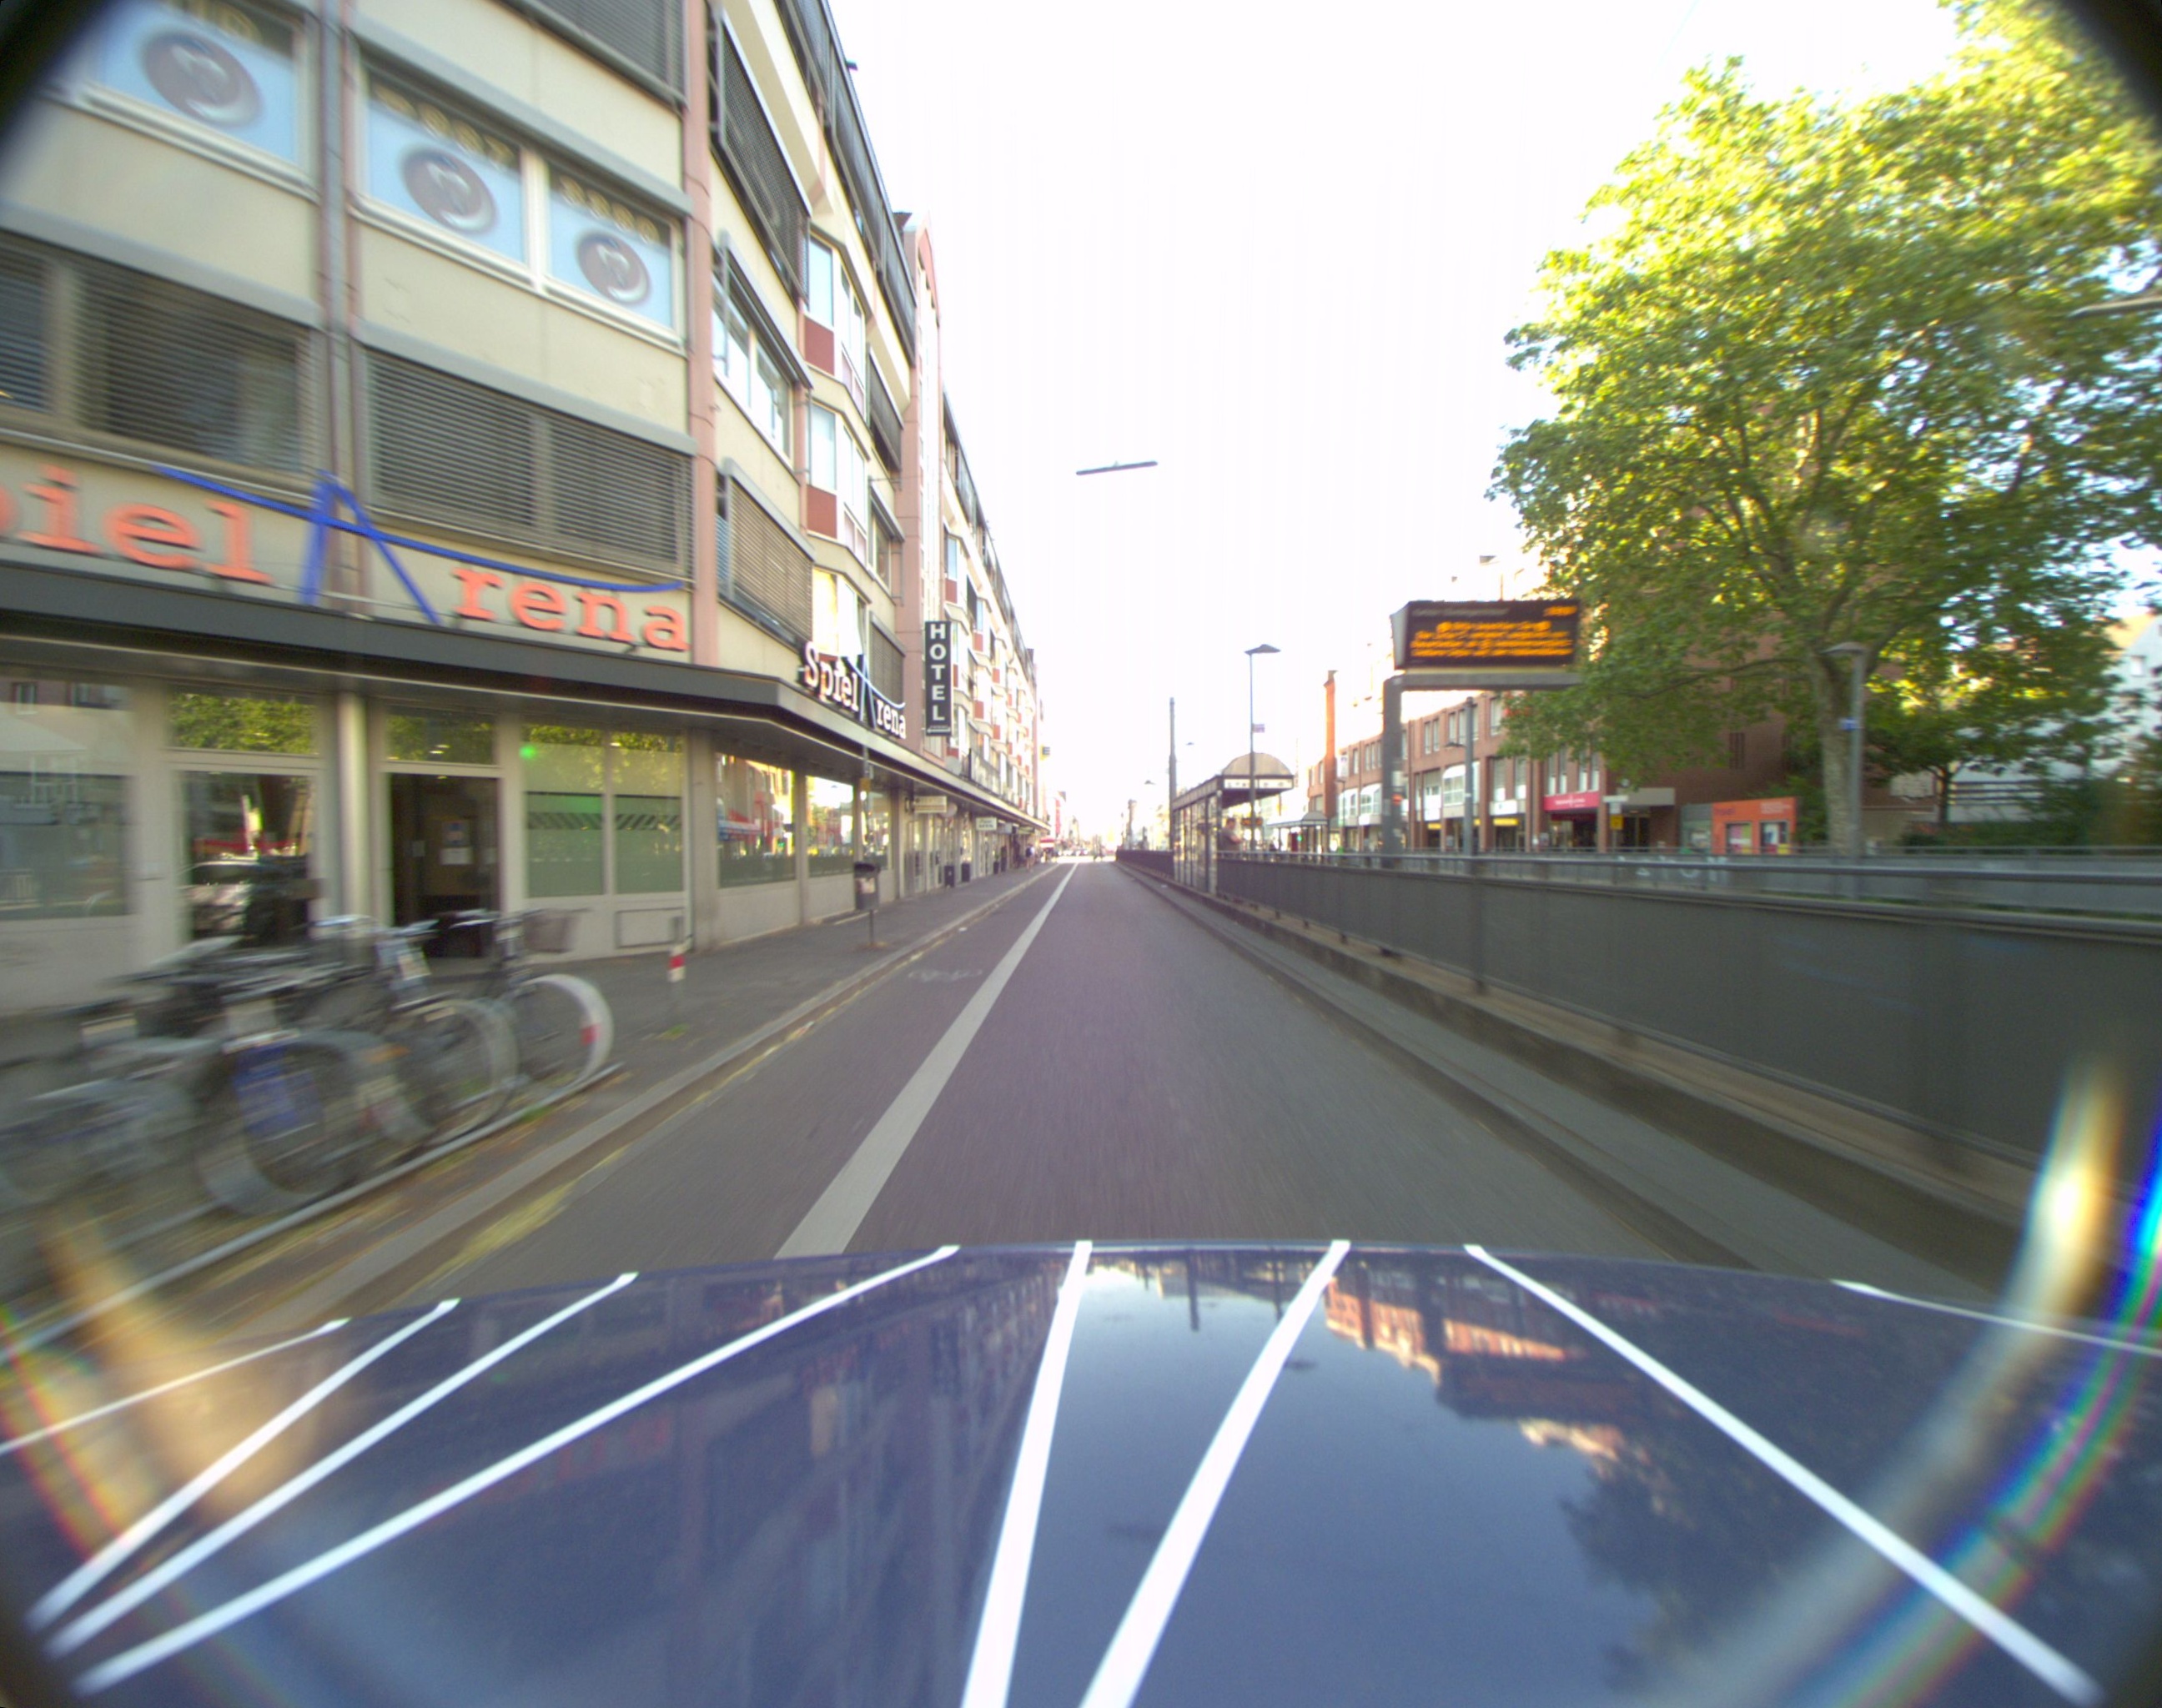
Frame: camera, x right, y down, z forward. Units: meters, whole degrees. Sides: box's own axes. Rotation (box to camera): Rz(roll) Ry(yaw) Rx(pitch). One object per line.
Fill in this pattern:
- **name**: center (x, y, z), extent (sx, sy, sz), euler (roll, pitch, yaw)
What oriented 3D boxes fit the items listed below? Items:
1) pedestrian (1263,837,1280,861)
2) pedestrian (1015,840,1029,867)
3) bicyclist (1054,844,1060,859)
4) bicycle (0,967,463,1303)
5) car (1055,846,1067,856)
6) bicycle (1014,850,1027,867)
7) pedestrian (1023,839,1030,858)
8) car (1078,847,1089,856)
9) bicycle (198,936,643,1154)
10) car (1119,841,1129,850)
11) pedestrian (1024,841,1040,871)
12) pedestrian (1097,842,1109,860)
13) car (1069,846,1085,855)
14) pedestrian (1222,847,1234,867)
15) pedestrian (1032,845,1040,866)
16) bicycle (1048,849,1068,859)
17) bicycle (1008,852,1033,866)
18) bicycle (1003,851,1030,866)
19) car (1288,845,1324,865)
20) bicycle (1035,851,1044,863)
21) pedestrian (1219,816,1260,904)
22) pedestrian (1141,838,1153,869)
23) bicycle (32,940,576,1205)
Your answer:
- **pedestrian**: center (13.112, -0.363, 52.218), extent (0.913, 1.652, 0.967), euler (-1, 2, 0)
- **pedestrian**: center (-4.101, -0.048, 52.593), extent (0.917, 1.856, 0.779), euler (1, 2, -3)
- **bicyclist**: center (-2.641, -0.265, 83.198), extent (0.637, 1.668, 0.768), euler (-1, 2, -3)
- **bicycle**: center (-3.714, 1.055, 3.032), extent (1.839, 1.048, 0.718), euler (-1, 1, -2)
- **car**: center (-3.561, -0.520, 133.900), extent (1.972, 1.664, 4.874), euler (-2, 0, -2)
- **bicycle**: center (-3.993, 0.296, 50.093), extent (0.659, 1.061, 1.794), euler (4, 1, 0)
- **pedestrian**: center (-4.539, -0.478, 63.495), extent (0.385, 1.586, 0.408), euler (2, 2, 21)
- **car**: center (0.515, -0.468, 138.978), extent (1.971, 1.664, 4.875), euler (-2, 0, 0)
- **bicycle**: center (-3.727, 1.056, 4.419), extent (1.918, 1.041, 0.681), euler (-1, 1, -2)
- **car**: center (12.364, -2.536, 219.050), extent (2.540, 2.441, 5.424), euler (-2, 0, 6)
- **pedestrian**: center (-2.922, 0.103, 45.388), extent (0.800, 1.713, 1.061), euler (2, 2, 2)
- **pedestrian**: center (2.356, -0.327, 81.399), extent (0.812, 1.793, 0.859), euler (-4, 2, -28)
- **car**: center (-0.865, -0.635, 151.625), extent (1.974, 1.664, 4.868), euler (-2, 0, -16)
- **pedestrian**: center (13.623, 0.274, 70.418), extent (0.860, 1.757, 0.811), euler (-3, 2, 1)
- **pedestrian**: center (-3.606, 0.079, 60.845), extent (0.634, 1.664, 0.771), euler (0, 2, 1)
- **bicycle**: center (-2.533, 0.008, 83.214), extent (2.176, 1.117, 0.768), euler (-1, 1, -3)
- **bicycle**: center (-4.550, 0.355, 57.304), extent (1.734, 0.968, 0.506), euler (2, 2, 5)
- **bicycle**: center (-4.733, 0.339, 55.944), extent (1.929, 1.054, 0.576), euler (1, 1, 0)
- **car**: center (19.521, 0.045, 66.149), extent (1.914, 1.585, 4.289), euler (1, 2, 1)
- **bicycle**: center (-3.704, 0.275, 68.029), extent (0.678, 0.971, 1.842), euler (4, 1, -3)
- **pedestrian**: center (3.161, 0.118, 15.223), extent (0.624, 1.702, 0.850), euler (-1, 1, 0)
- **pedestrian**: center (3.815, -0.058, 44.135), extent (0.584, 1.781, 0.606), euler (-1, 2, -1)
- **bicycle**: center (-3.715, 1.023, 3.761), extent (1.975, 1.098, 0.614), euler (0, 1, -2)
